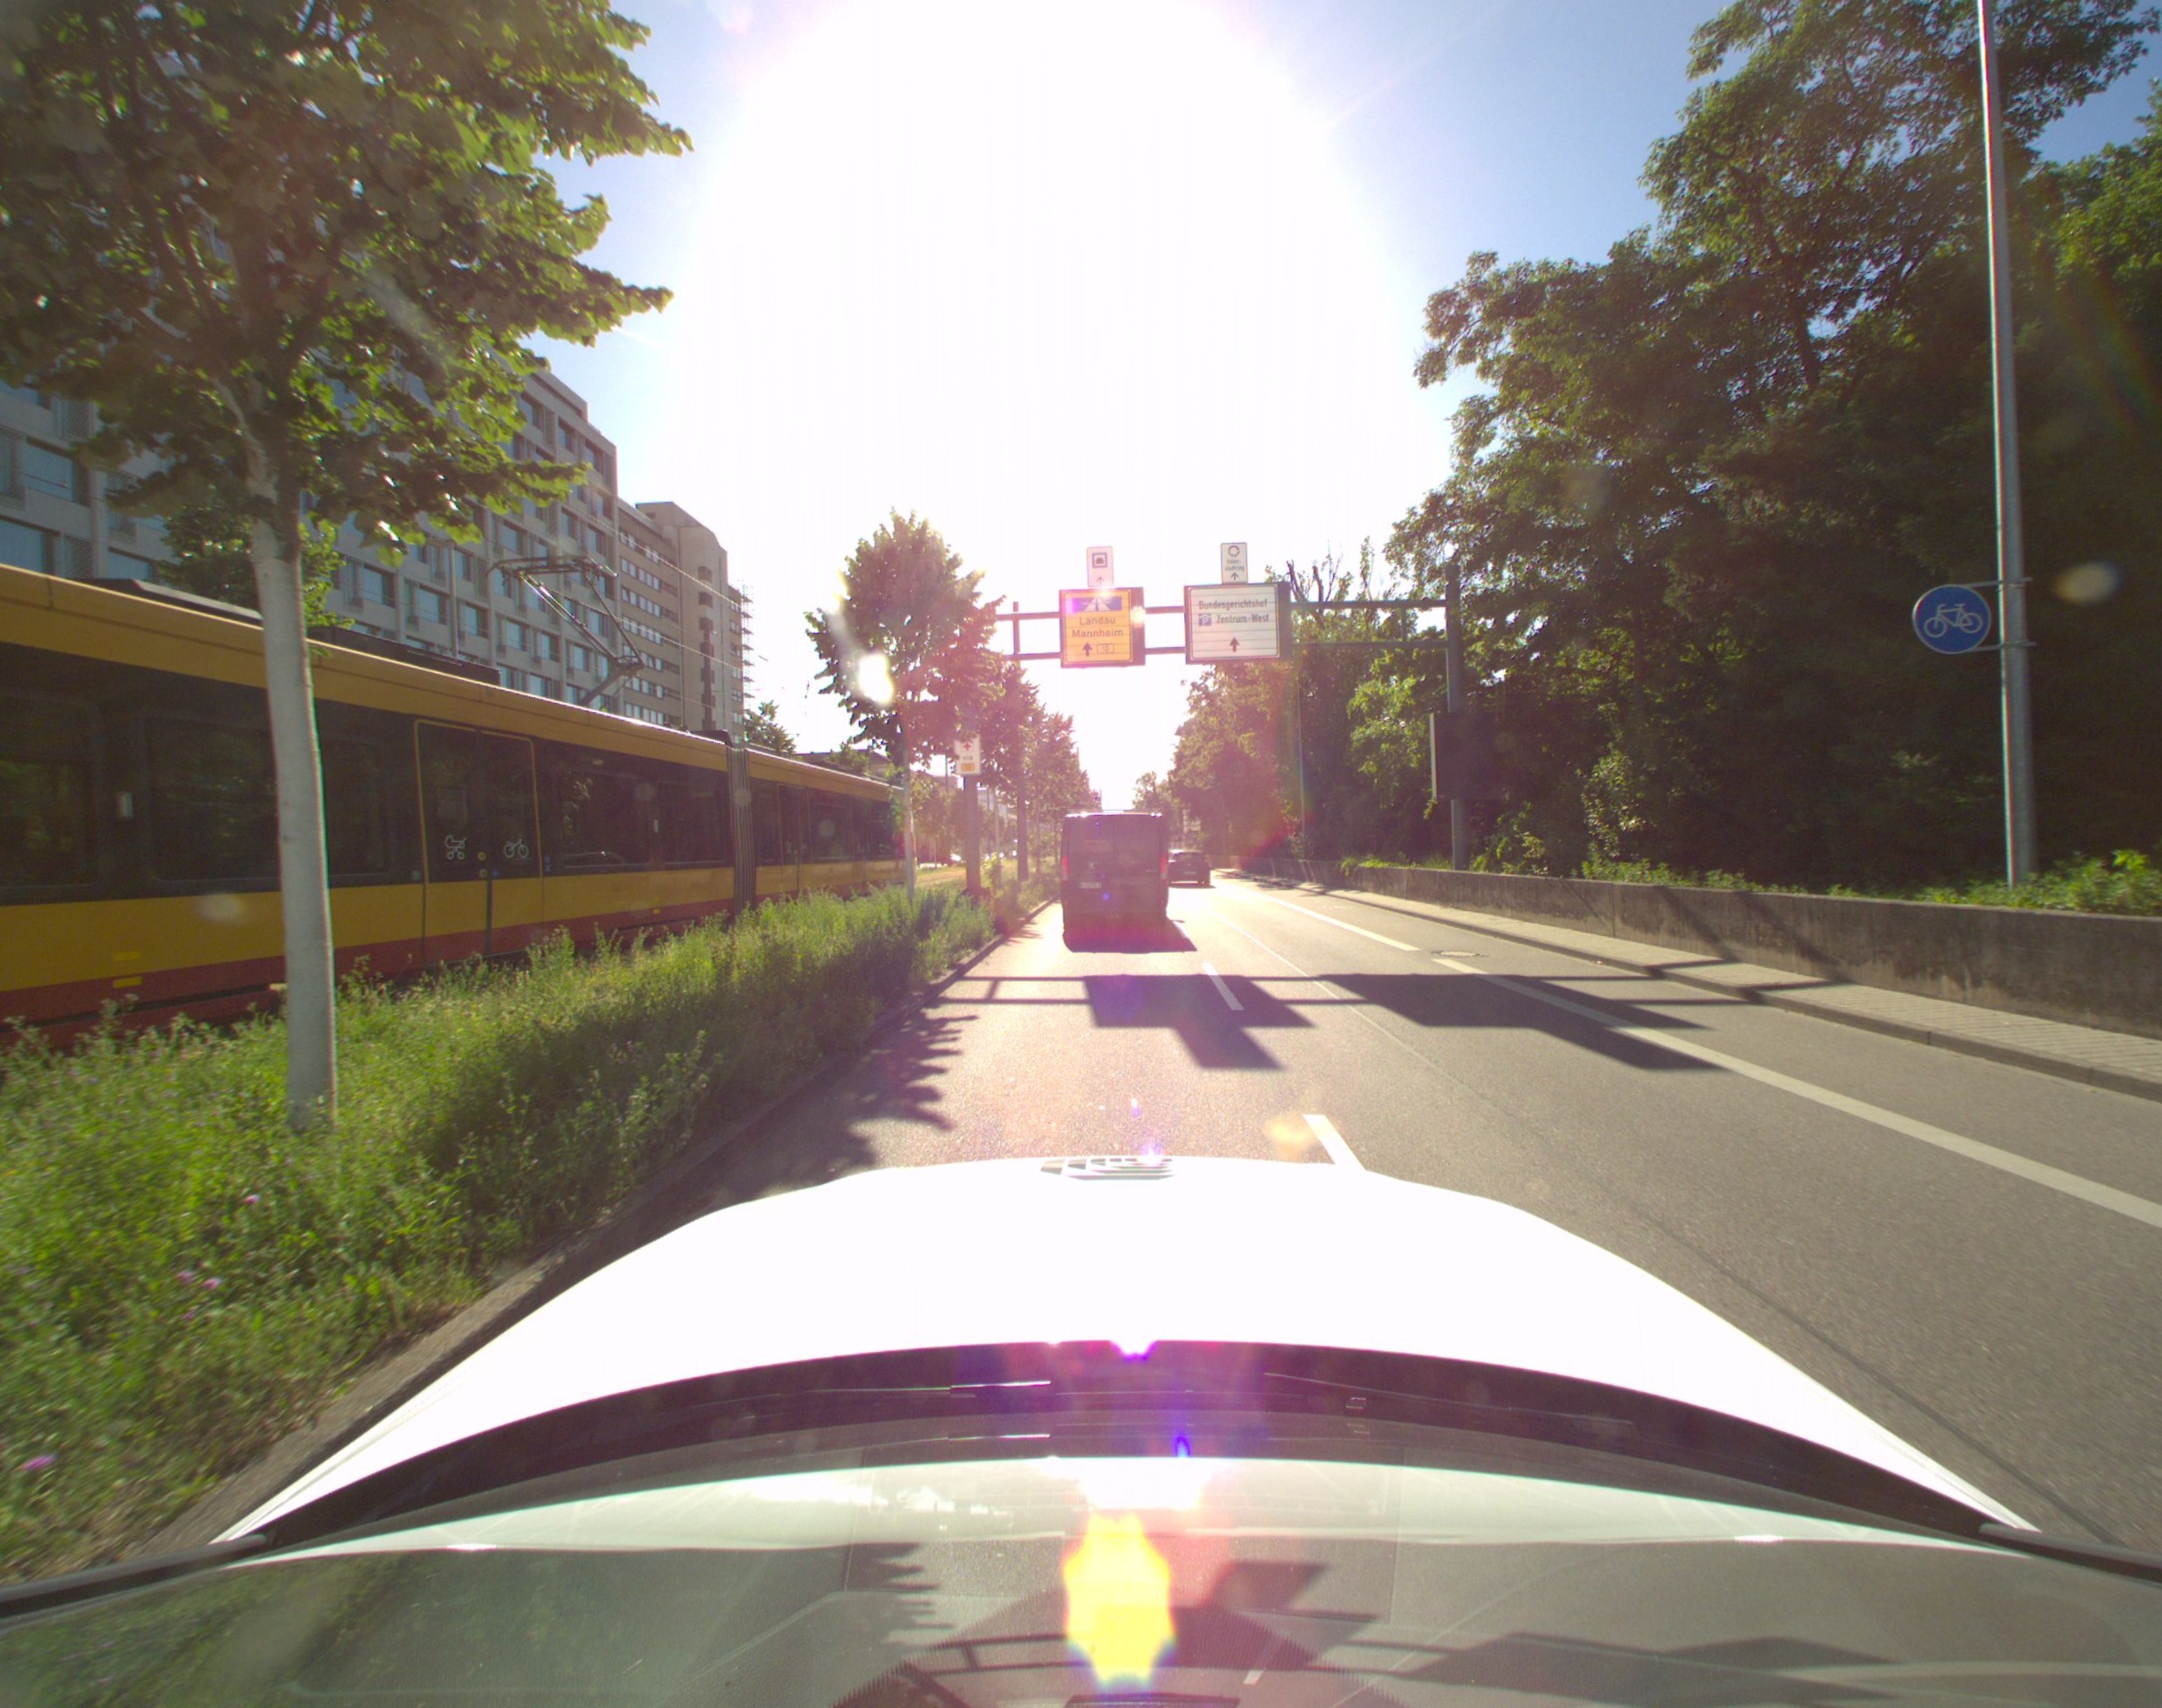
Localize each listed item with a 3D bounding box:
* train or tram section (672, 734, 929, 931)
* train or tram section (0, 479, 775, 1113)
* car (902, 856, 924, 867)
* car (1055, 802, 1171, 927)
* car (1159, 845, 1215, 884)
[{"bbox_3d":[-6.353,-0.432,21.092,1.985,3.669,11.693,-1,0,3],"label":"train or tram section"},{"bbox_3d":[-7.014,-0.356,9.645,1.985,3.669,11.324,-1,0,3],"label":"train or tram section"},{"bbox_3d":[-24.037,1.049,116.741,1.985,1.552,4.004,-1,0,3],"label":"car"},{"bbox_3d":[0.658,0.188,16.876,2.074,2.248,4.002,-1,0,2],"label":"car"},{"bbox_3d":[4.226,0.383,33.020,1.757,1.462,4.000,-1,0,0],"label":"car"}]
